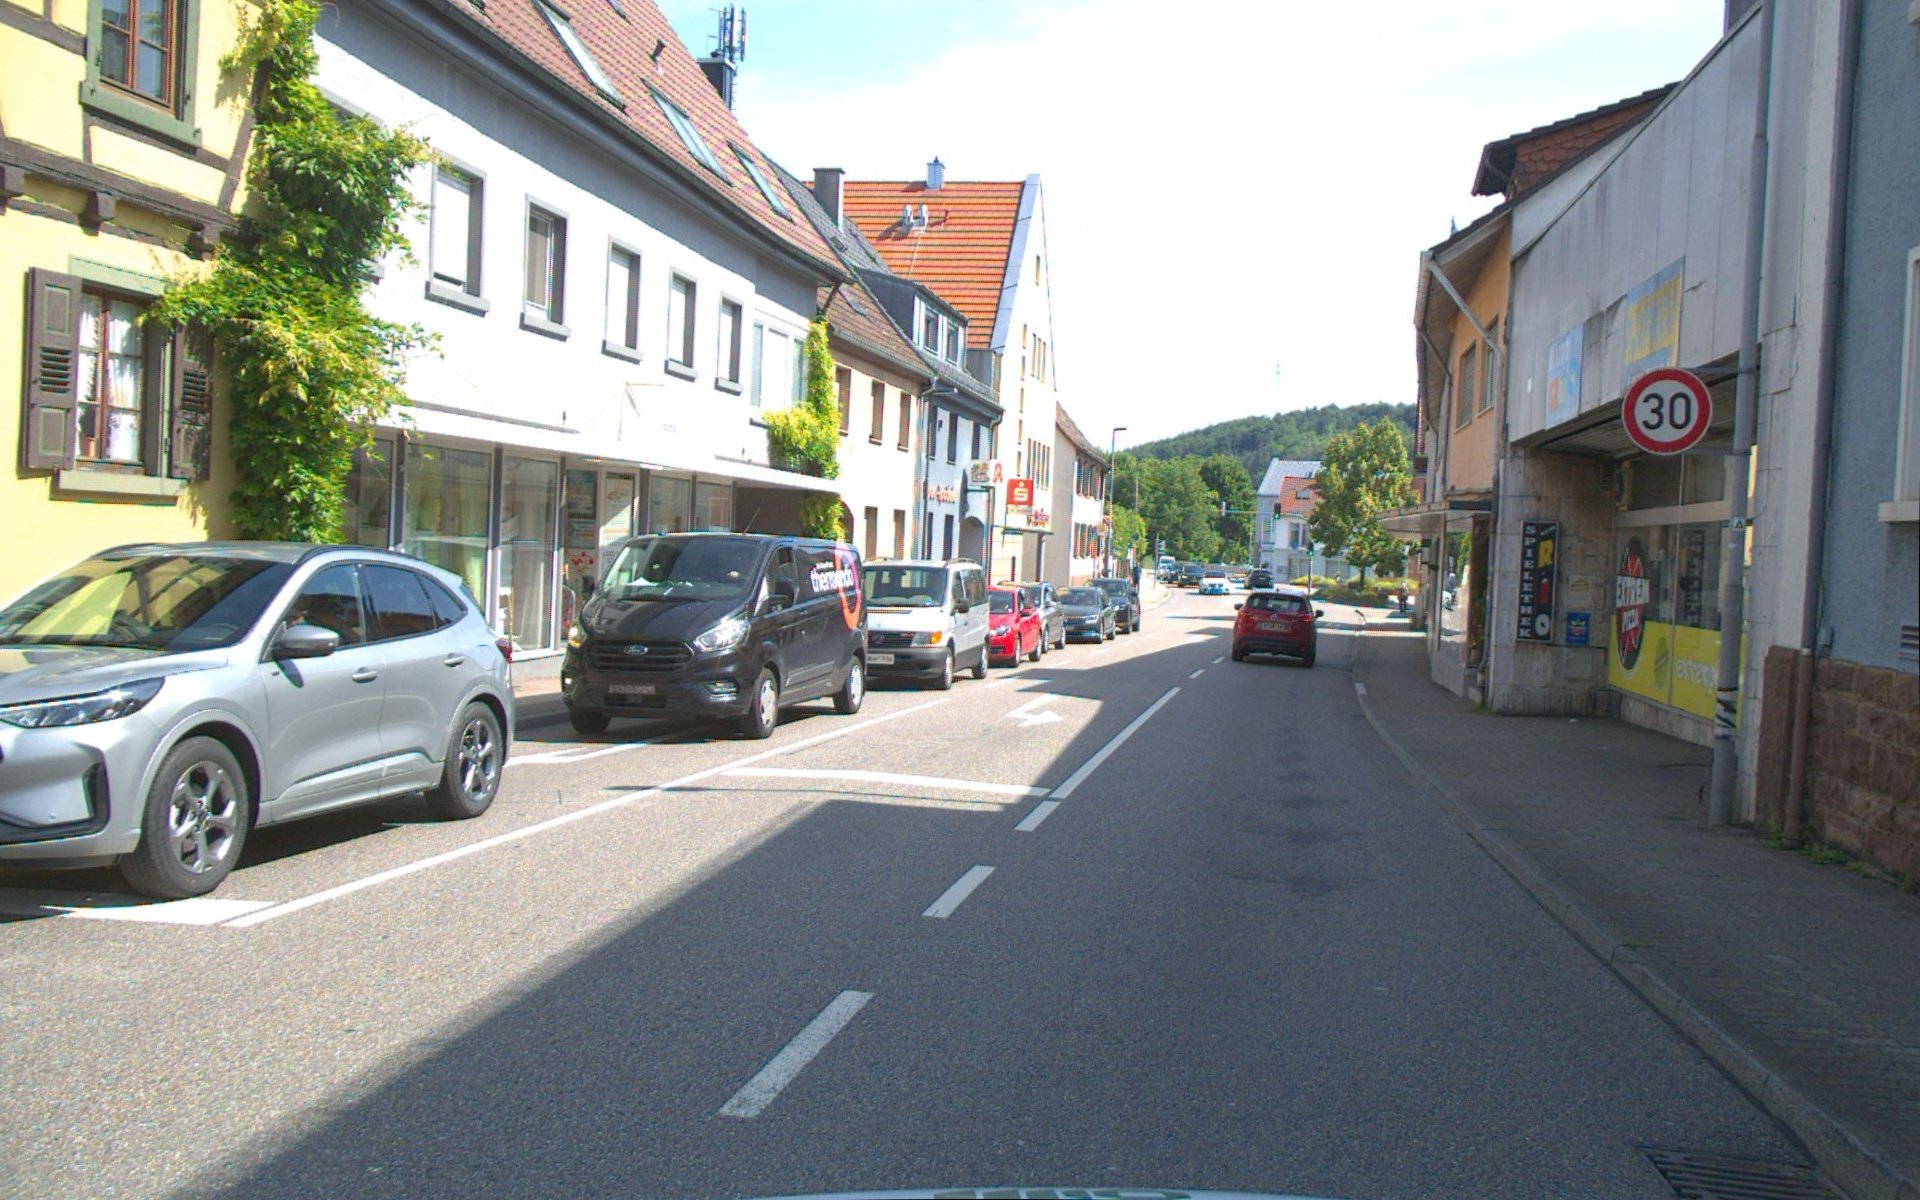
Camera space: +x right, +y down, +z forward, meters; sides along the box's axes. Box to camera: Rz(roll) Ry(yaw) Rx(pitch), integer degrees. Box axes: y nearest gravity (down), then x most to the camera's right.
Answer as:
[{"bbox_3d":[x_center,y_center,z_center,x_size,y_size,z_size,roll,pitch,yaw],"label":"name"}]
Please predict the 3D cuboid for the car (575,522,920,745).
[{"bbox_3d":[-2.000,0.272,17.490,2.113,1.956,5.170,1,1,10],"label":"car"}]

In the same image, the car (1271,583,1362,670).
[{"bbox_3d":[8.189,0.541,37.825,1.820,1.744,4.426,4,1,13],"label":"car"}]

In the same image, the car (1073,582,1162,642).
[{"bbox_3d":[4.288,0.295,44.526,1.751,1.476,4.428,1,1,14],"label":"car"}]

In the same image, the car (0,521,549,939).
[{"bbox_3d":[-3.957,0.477,8.836,1.718,1.638,4.432,1,1,10],"label":"car"}]

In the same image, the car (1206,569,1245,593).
[{"bbox_3d":[16.915,-1.195,105.358,1.945,1.469,5.105,2,1,14],"label":"car"}]

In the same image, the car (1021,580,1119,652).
[{"bbox_3d":[2.632,0.347,38.759,1.594,1.546,4.023,1,1,14],"label":"car"}]

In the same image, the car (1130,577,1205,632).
[{"bbox_3d":[6.630,0.122,52.477,1.828,1.617,4.522,1,1,14],"label":"car"}]

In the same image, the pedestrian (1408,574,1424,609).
[{"bbox_3d":[23.203,-0.426,84.213,0.628,1.737,0.701,2,-1,8],"label":"pedestrian"}]

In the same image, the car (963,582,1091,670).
[{"bbox_3d":[1.350,0.441,31.557,1.721,1.518,4.080,1,1,12],"label":"car"}]

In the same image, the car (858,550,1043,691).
[{"bbox_3d":[-0.029,0.261,25.213,1.843,1.923,4.556,1,1,12],"label":"car"}]

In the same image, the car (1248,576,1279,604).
[{"bbox_3d":[22.206,-0.738,120.818,1.891,1.825,3.958,2,-1,15],"label":"car"}]

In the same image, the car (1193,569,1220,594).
[{"bbox_3d":[19.420,-1.430,130.179,1.737,1.816,3.842,2,-1,13],"label":"car"}]
